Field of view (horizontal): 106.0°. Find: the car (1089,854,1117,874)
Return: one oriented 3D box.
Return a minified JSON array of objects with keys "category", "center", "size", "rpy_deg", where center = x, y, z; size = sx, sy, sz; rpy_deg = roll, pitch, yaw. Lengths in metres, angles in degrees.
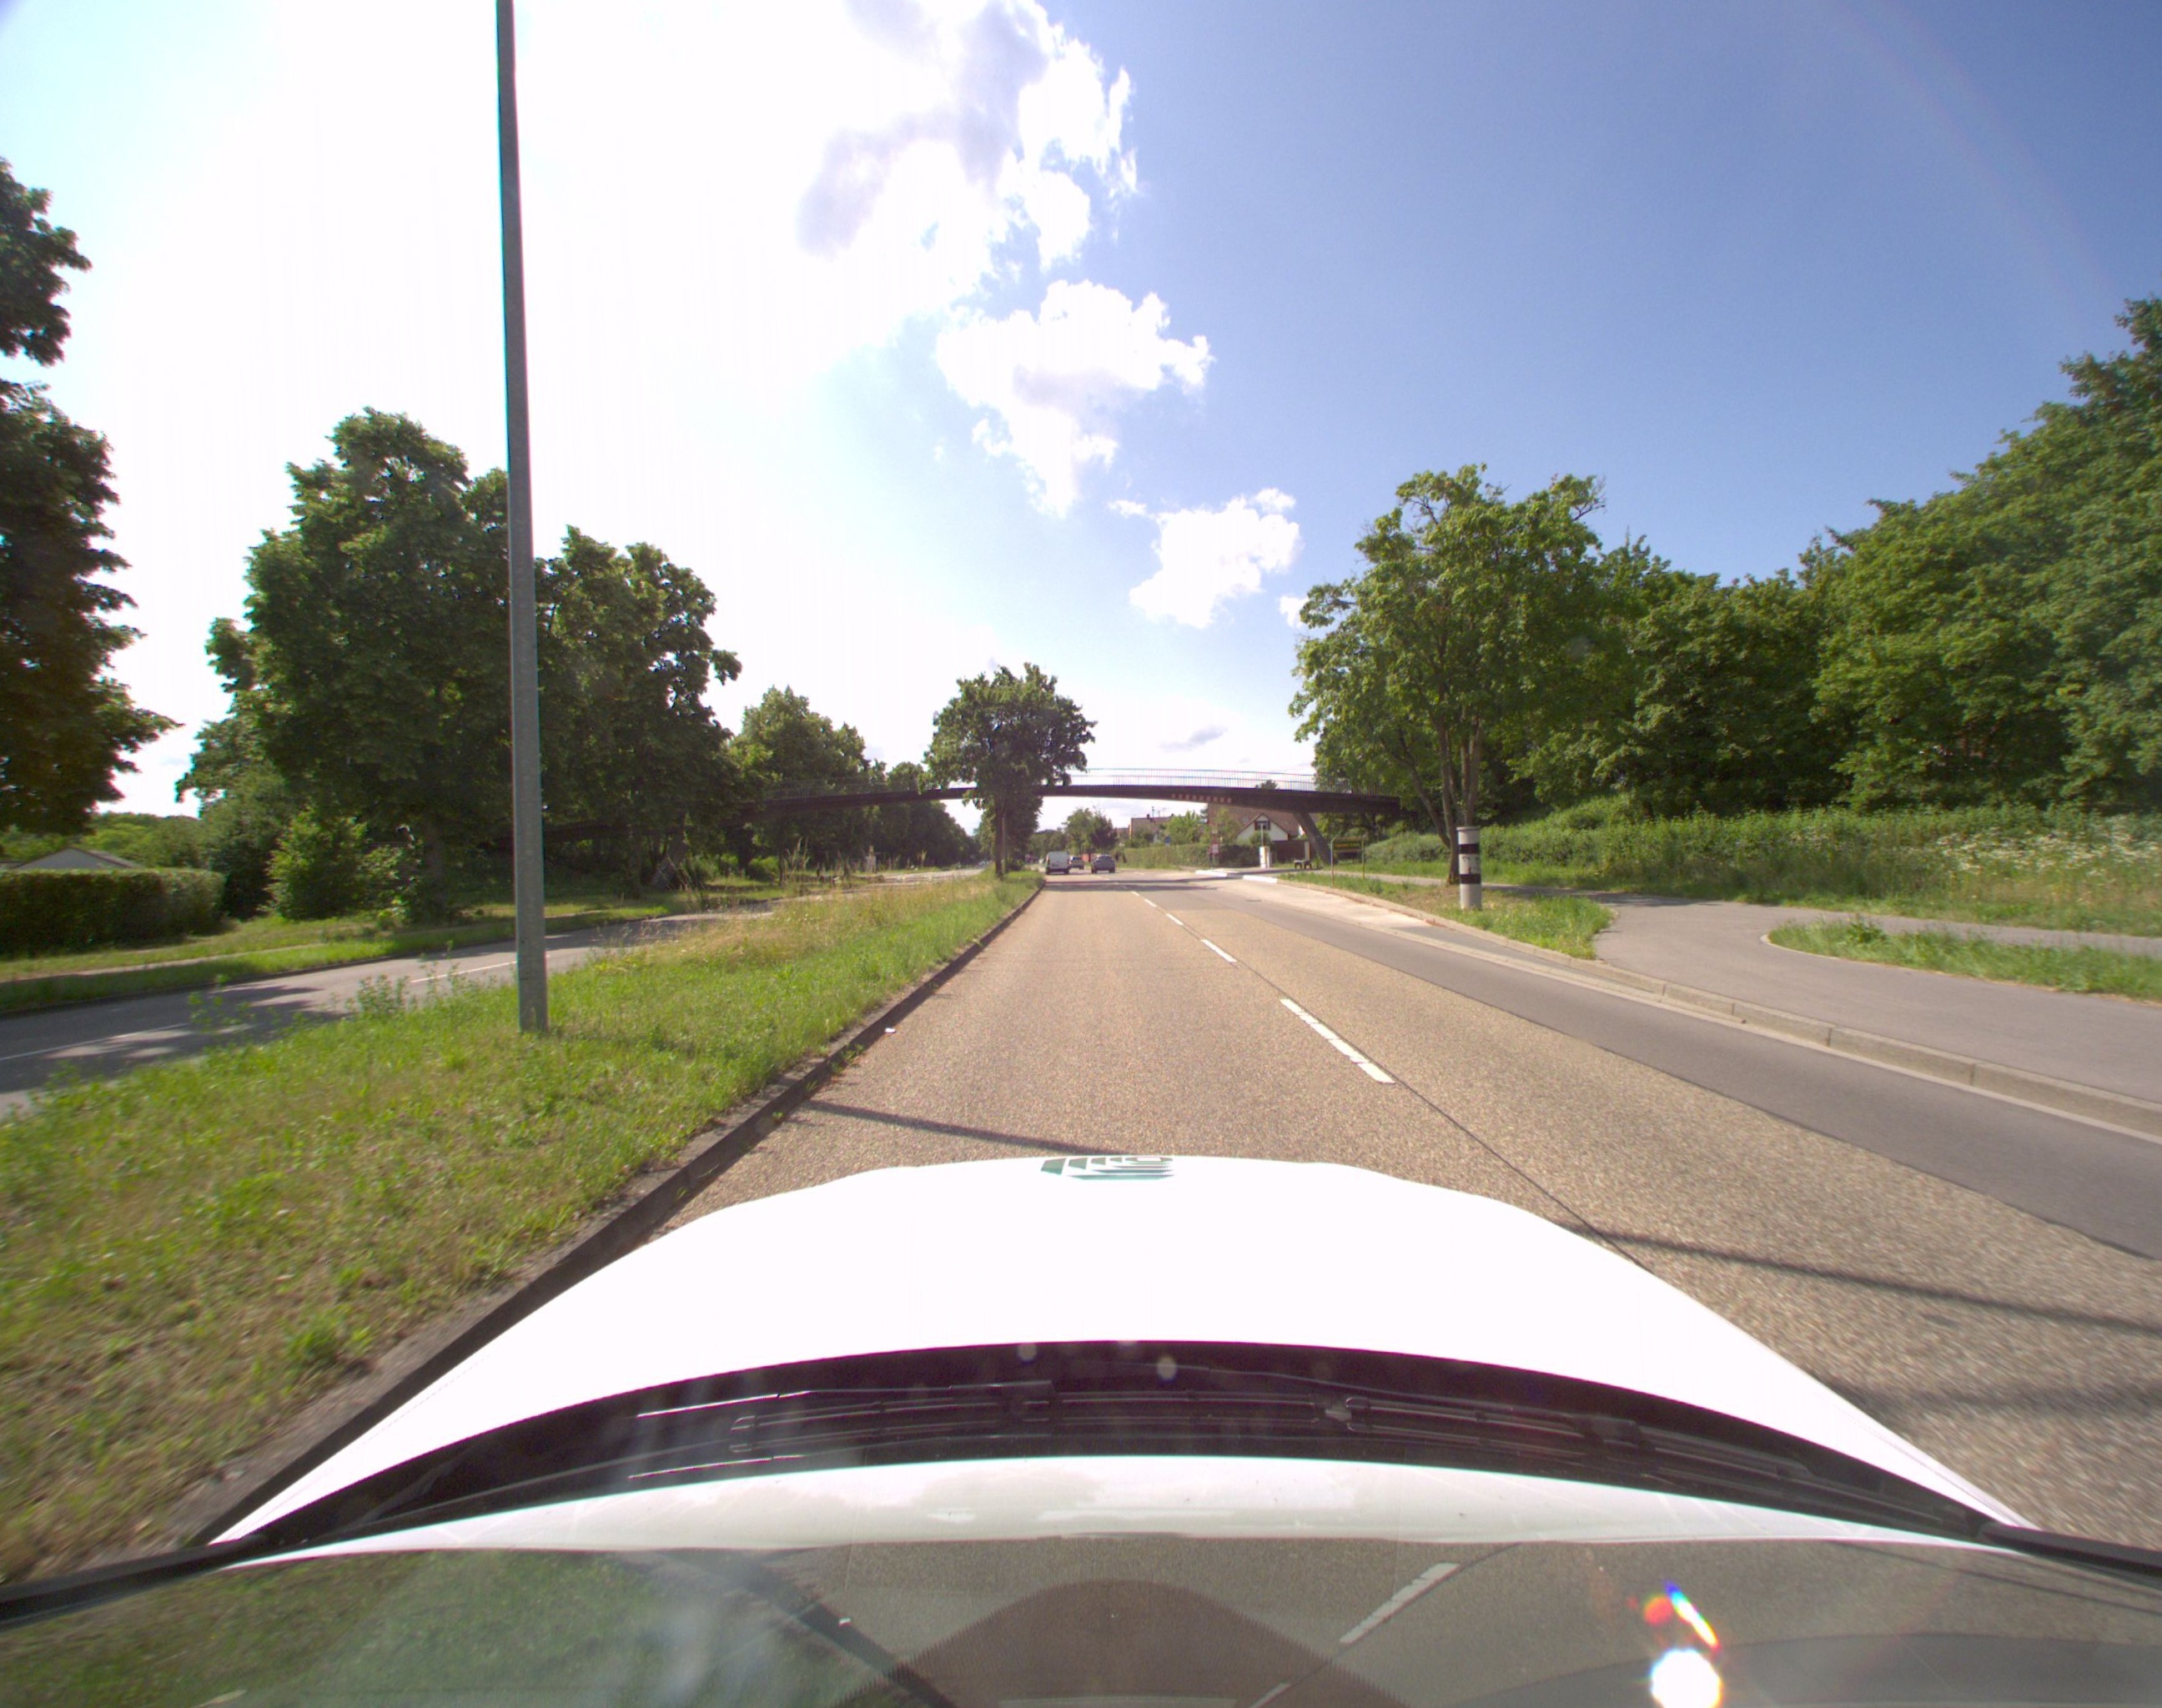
[{"category":"car","center":[1.857,0.853,69.616],"size":[1.873,1.589,4.175],"rpy_deg":[-2,-1,-6]}]

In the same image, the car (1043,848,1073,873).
[{"category":"car","center":[-1.947,0.551,66.623],"size":[2.063,1.912,4.636],"rpy_deg":[-1,0,-6]}]

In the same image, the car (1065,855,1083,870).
[{"category":"car","center":[-0.858,1.054,98.427],"size":[1.873,1.652,3.991],"rpy_deg":[-2,-1,-6]}]

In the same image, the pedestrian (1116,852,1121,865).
[{"category":"pedestrian","center":[5.131,0.619,111.481],"size":[0.559,1.677,0.633],"rpy_deg":[-1,-1,-7]}]

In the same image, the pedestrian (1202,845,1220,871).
[{"category":"pedestrian","center":[9.353,0.293,58.825],"size":[0.952,1.824,1.086],"rpy_deg":[-3,-3,-4]}]
